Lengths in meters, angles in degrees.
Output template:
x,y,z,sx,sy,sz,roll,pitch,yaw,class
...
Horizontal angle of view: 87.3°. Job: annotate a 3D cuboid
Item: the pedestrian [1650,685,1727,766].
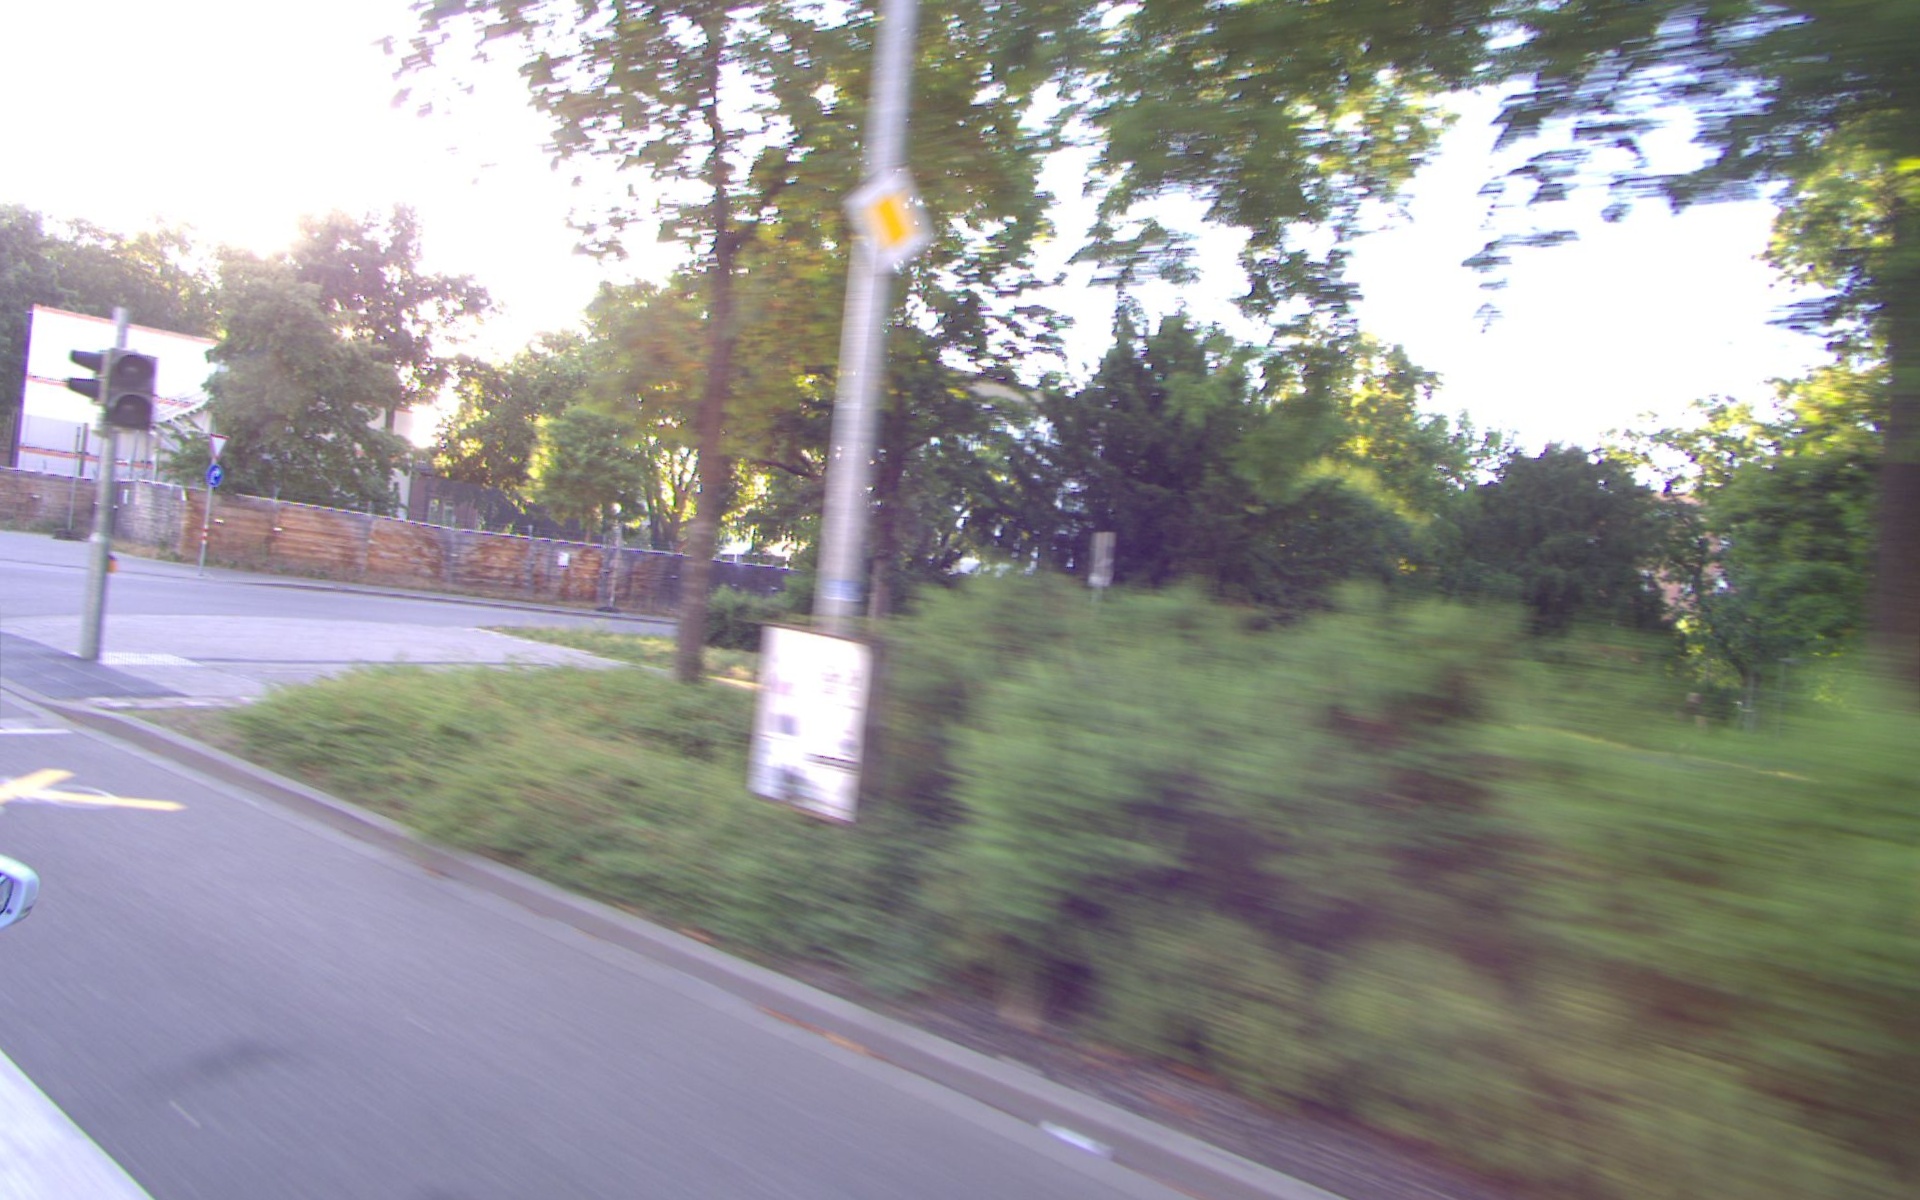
x,y,z,sx,sy,sz,roll,pitch,yaw,class
16.895,2.903,23.343,0.807,1.648,0.829,6,9,-28,pedestrian
